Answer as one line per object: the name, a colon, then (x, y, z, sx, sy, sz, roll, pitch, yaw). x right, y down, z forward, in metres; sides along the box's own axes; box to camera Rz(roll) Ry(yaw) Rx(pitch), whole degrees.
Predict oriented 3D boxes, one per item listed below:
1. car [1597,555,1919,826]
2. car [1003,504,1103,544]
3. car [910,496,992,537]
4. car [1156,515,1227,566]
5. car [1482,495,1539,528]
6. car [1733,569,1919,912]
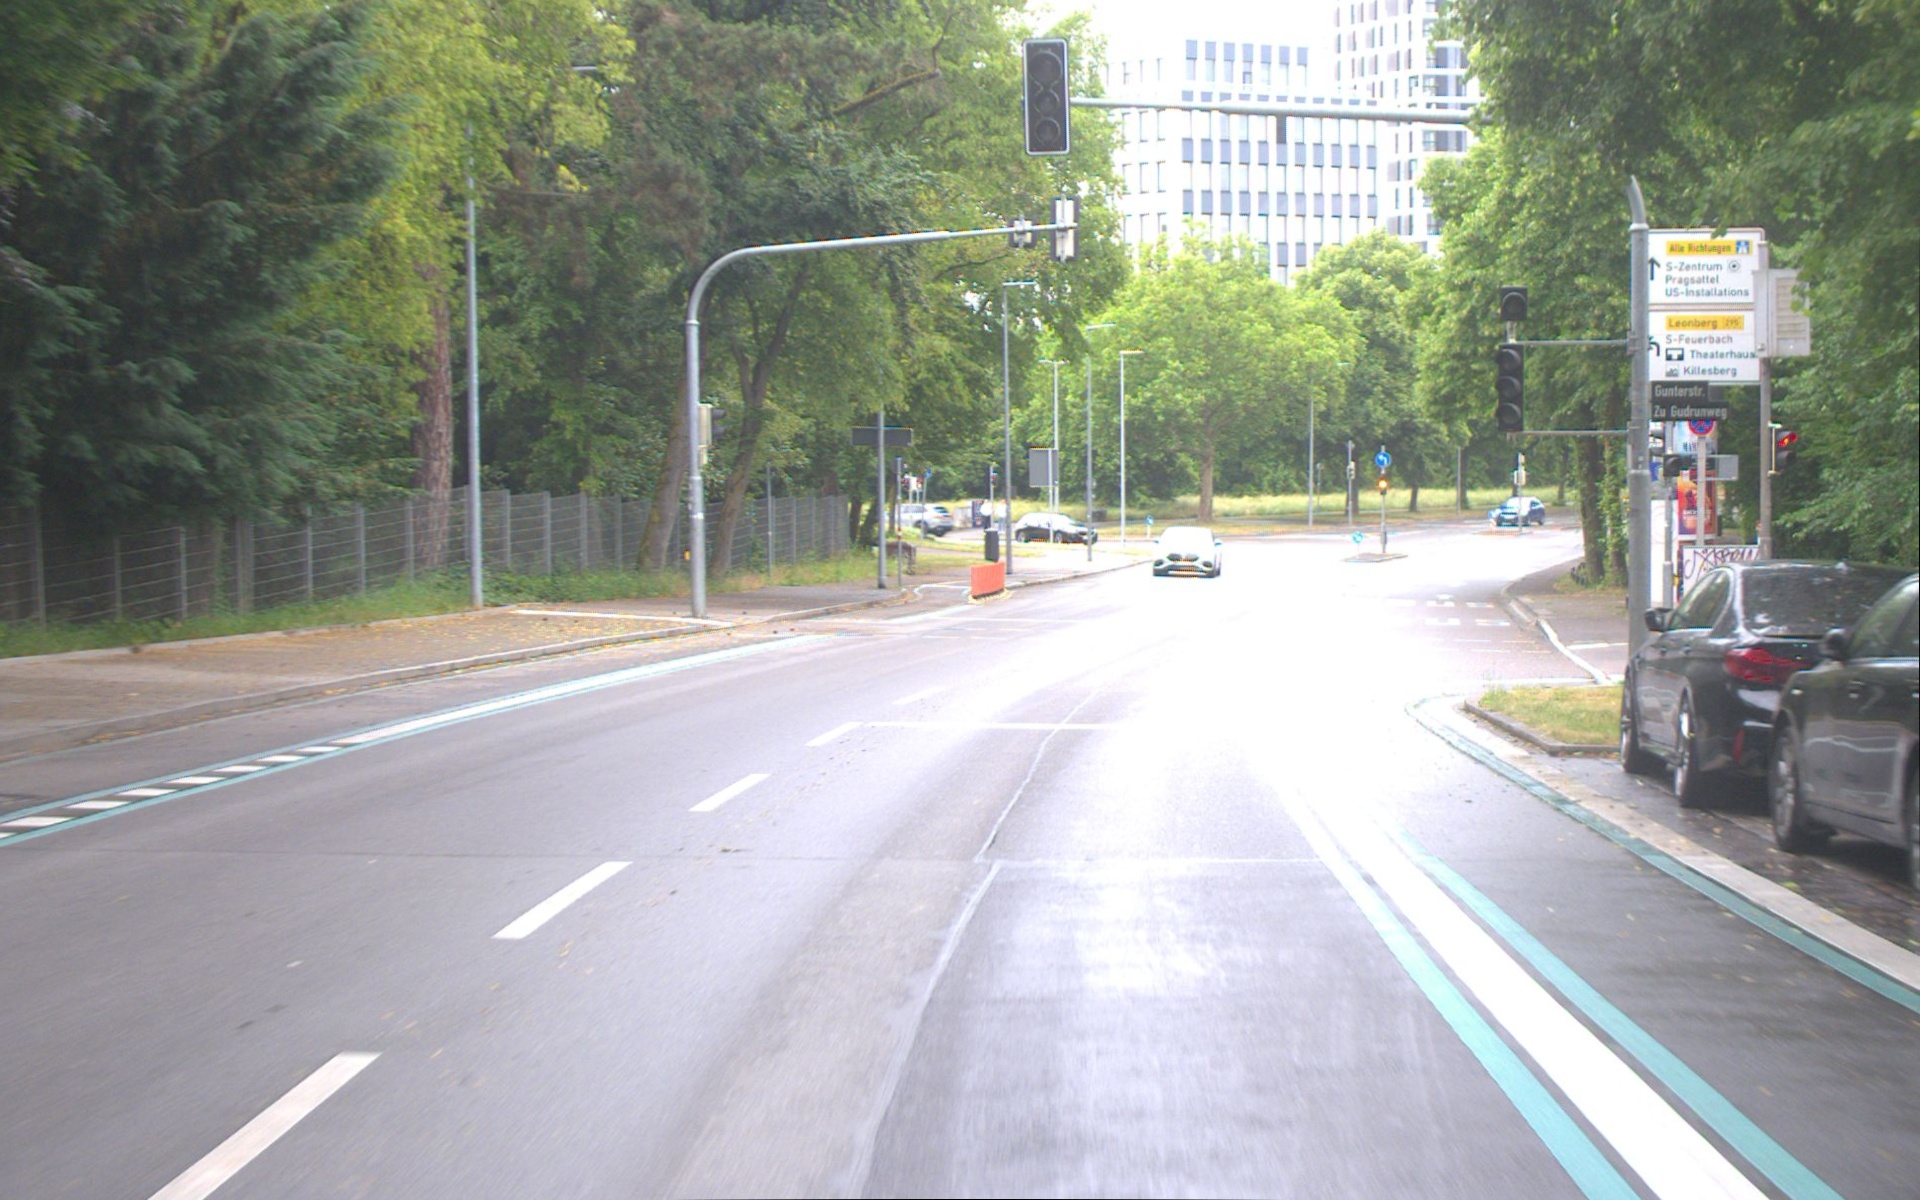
car: (5.140, 0.471, 21.230, 1.757, 1.435, 4.857, 1, 1, 4)
car: (4.084, -3.332, 150.704, 3.992, 1.437, 1.605, 6, 4, 22)
car: (-0.439, -4.140, 170.710, 1.998, 2.007, 3.991, 2, 1, 40)
car: (7.150, -1.837, 105.862, 1.844, 1.452, 4.499, 1, 2, 8)
car: (28.869, -4.643, 180.187, 1.996, 1.679, 3.995, 1, 1, 24)
car: (4.892, 0.608, 15.567, 1.699, 1.415, 4.763, 2, 1, 0)
